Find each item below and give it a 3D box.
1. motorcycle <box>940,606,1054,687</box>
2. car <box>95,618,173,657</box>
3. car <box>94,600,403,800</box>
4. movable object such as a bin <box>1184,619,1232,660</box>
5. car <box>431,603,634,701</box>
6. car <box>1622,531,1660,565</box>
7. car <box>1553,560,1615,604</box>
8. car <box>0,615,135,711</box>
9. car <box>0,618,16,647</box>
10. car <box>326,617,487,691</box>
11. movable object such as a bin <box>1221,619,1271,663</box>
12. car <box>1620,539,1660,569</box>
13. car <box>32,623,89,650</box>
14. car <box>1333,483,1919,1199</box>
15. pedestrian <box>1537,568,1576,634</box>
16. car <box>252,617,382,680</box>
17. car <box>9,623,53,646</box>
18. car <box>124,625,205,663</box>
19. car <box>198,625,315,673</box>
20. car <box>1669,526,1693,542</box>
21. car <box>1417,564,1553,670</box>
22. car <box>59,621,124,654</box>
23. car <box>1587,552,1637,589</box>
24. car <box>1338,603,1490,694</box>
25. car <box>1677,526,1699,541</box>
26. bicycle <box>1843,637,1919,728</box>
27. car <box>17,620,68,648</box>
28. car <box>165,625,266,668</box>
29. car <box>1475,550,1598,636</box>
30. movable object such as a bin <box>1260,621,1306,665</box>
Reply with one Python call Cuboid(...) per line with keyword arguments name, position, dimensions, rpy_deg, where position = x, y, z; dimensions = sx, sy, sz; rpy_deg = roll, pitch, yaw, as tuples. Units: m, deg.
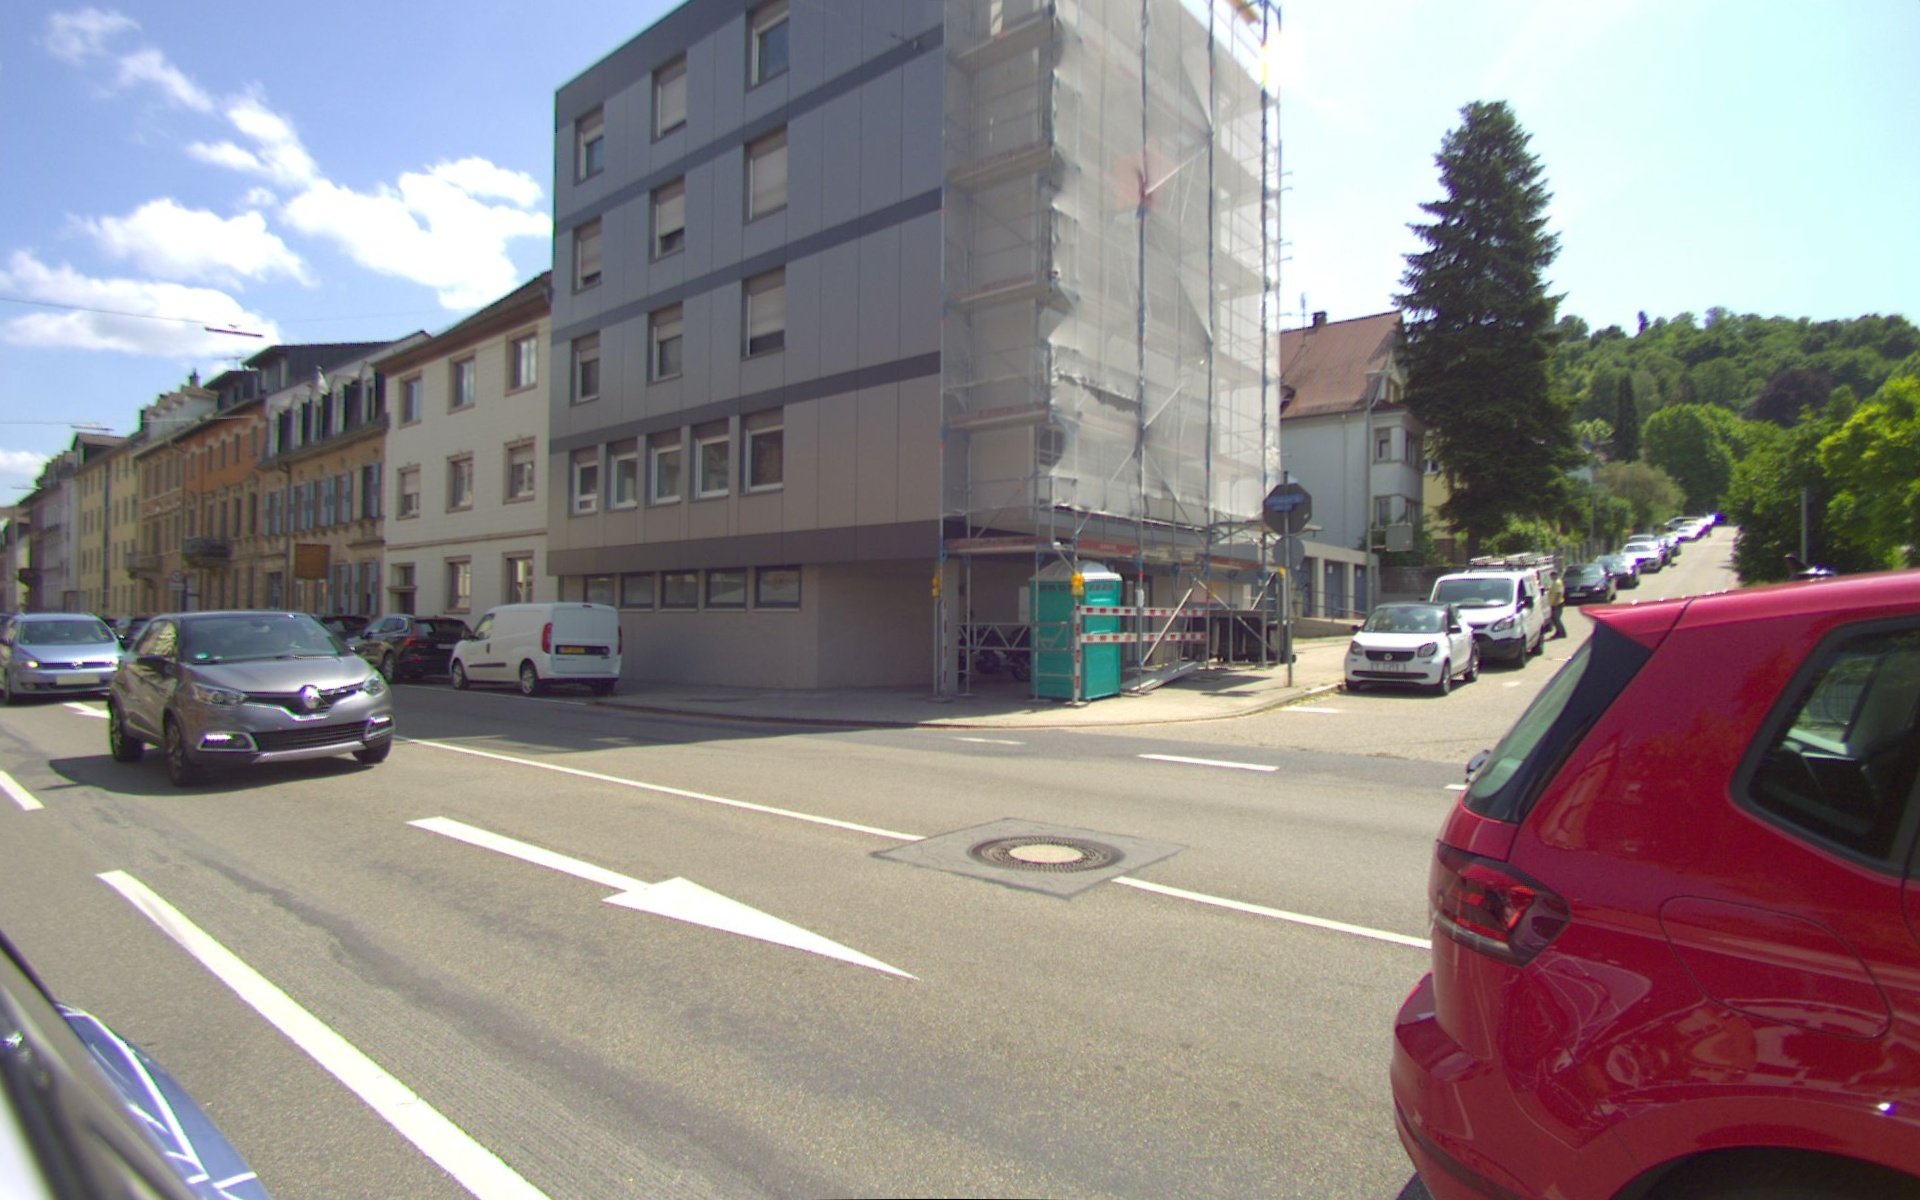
Cuboid(name="motorcycle", position=(0.686, 0.869, 19.310), dimensions=(2.009, 1.483, 0.884), rpy_deg=(0, -1, -11))
Cuboid(name="car", position=(-37.863, 1.710, 46.361), dimensions=(4.497, 1.640, 1.846), rpy_deg=(-1, -5, 40))
Cuboid(name="car", position=(-7.344, 0.856, 10.293), dimensions=(3.999, 1.644, 1.735), rpy_deg=(-1, -1, 42))
Cuboid(name="movable object such as a bin", position=(5.764, 0.907, 23.482), dimensions=(0.826, 0.933, 0.730), rpy_deg=(-1, -1, 42))
Cuboid(name="car", position=(-9.020, 1.032, 21.159), dimensions=(4.784, 1.839, 1.894), rpy_deg=(-1, -3, 40))
Cuboid(name="car", position=(39.886, -3.067, 59.303), dimensions=(1.754, 1.828, 3.697), rpy_deg=(-1, 2, 34))
Cuboid(name="car", position=(23.227, -0.694, 37.627), dimensions=(1.754, 1.458, 3.697), rpy_deg=(-1, 2, 34))
Cuboid(name="car", position=(-16.758, 1.077, 18.696), dimensions=(3.999, 1.580, 1.736), rpy_deg=(-1, -1, 42))
Cuboid(name="car", position=(-53.651, 1.796, 55.967), dimensions=(4.310, 1.587, 1.683), rpy_deg=(-1, -3, 42))
Cuboid(name="car", position=(-13.727, 1.271, 24.998), dimensions=(4.659, 1.653, 1.866), rpy_deg=(-1, -3, 40))
Cuboid(name="movable object such as a bin", position=(6.431, 0.911, 22.735), dimensions=(0.826, 0.933, 0.730), rpy_deg=(-1, -1, 42))
Cuboid(name="car", position=(37.467, -2.545, 55.734), dimensions=(1.754, 1.458, 3.697), rpy_deg=(-1, 2, 34))
Cuboid(name="car", position=(-53.319, 2.141, 59.978), dimensions=(4.684, 1.463, 1.885), rpy_deg=(-1, -5, 42))
Cuboid(name="car", position=(2.791, 0.610, 1.209), dimensions=(4.036, 1.569, 1.780), rpy_deg=(-1, -1, 42))
Cuboid(name="pedestrian", position=(15.796, 0.034, 26.803), dimensions=(0.743, 1.727, 0.702), rpy_deg=(-1, -2, 43))
Cuboid(name="car", position=(-18.506, 1.353, 29.035), dimensions=(4.816, 1.653, 1.865), rpy_deg=(-1, -3, 42))
Cuboid(name="car", position=(-61.975, 2.306, 67.464), dimensions=(3.914, 1.421, 1.726), rpy_deg=(-1, -5, 42))
Cuboid(name="car", position=(-33.951, 1.855, 43.132), dimensions=(4.328, 1.437, 1.845), rpy_deg=(-1, -5, 41))
Cuboid(name="car", position=(-23.572, 1.608, 33.849), dimensions=(4.832, 1.417, 1.846), rpy_deg=(0, -5, 39))
Cuboid(name="car", position=(71.306, -6.564, 100.077), dimensions=(1.756, 1.458, 3.693), rpy_deg=(-1, 3, 38))
Cuboid(name="car", position=(11.833, 0.287, 22.629), dimensions=(1.996, 2.028, 4.953), rpy_deg=(-1, 2, 35))
Cuboid(name="car", position=(-46.569, 2.004, 54.234), dimensions=(4.497, 1.563, 1.846), rpy_deg=(-1, -5, 40))
Cuboid(name="car", position=(29.234, -1.346, 45.321), dimensions=(1.754, 1.458, 3.697), rpy_deg=(-1, 2, 34))
Cuboid(name="car", position=(8.405, 0.823, 18.589), dimensions=(1.755, 1.458, 3.693), rpy_deg=(-1, -1, 37))
Cuboid(name="car", position=(78.329, -7.175, 108.812), dimensions=(1.756, 1.458, 3.693), rpy_deg=(-1, 3, 38))
Cuboid(name="bicycle", position=(10.820, 0.905, 11.066), dimensions=(1.716, 0.974, 0.393), rpy_deg=(-1, -1, 37))
Cuboid(name="car", position=(-58.342, 2.152, 64.336), dimensions=(4.311, 1.563, 1.845), rpy_deg=(-1, -5, 41))
Cuboid(name="car", position=(-27.590, 1.714, 37.452), dimensions=(4.325, 1.417, 1.847), rpy_deg=(0, -5, 38))
Cuboid(name="car", position=(16.541, -0.257, 28.928), dimensions=(2.074, 2.193, 4.944), rpy_deg=(-1, 2, 41))
Cuboid(name="movable object such as a bin", position=(7.075, 0.926, 22.173), dimensions=(0.703, 0.933, 0.730), rpy_deg=(-1, -1, 42))
